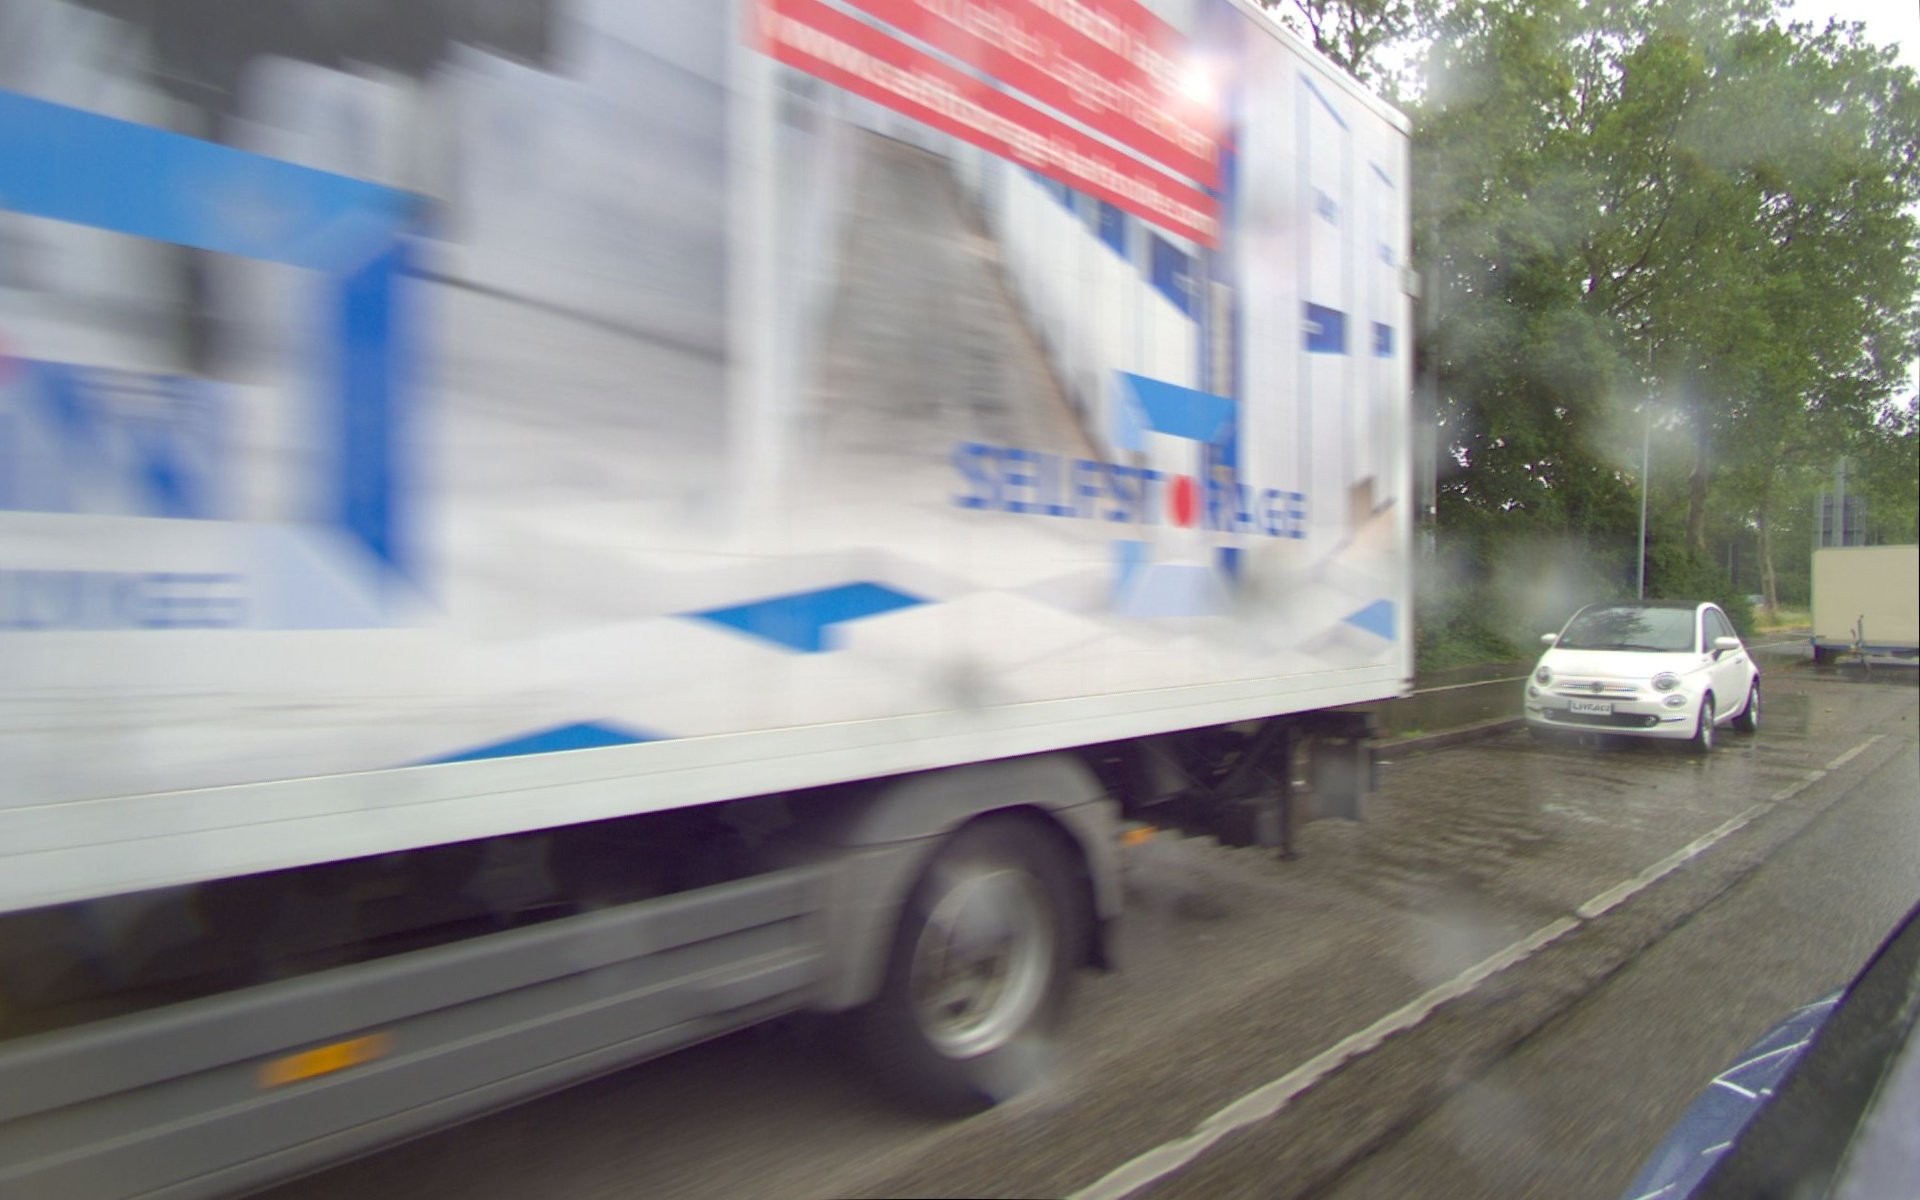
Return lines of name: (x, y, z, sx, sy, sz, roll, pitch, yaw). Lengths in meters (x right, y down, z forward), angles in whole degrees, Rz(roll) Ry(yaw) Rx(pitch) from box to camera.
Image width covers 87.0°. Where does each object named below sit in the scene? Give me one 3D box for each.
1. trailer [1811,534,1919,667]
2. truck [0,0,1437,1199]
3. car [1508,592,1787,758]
trailer: (21.874, -0.039, 23.509, 5.574, 2.792, 2.171, -1, 1, -38)
truck: (-2.172, -0.541, 2.548, 9.688, 3.750, 2.778, -1, 1, -43)
car: (7.835, 0.689, 11.401, 3.931, 1.548, 1.715, 0, 0, -42)
